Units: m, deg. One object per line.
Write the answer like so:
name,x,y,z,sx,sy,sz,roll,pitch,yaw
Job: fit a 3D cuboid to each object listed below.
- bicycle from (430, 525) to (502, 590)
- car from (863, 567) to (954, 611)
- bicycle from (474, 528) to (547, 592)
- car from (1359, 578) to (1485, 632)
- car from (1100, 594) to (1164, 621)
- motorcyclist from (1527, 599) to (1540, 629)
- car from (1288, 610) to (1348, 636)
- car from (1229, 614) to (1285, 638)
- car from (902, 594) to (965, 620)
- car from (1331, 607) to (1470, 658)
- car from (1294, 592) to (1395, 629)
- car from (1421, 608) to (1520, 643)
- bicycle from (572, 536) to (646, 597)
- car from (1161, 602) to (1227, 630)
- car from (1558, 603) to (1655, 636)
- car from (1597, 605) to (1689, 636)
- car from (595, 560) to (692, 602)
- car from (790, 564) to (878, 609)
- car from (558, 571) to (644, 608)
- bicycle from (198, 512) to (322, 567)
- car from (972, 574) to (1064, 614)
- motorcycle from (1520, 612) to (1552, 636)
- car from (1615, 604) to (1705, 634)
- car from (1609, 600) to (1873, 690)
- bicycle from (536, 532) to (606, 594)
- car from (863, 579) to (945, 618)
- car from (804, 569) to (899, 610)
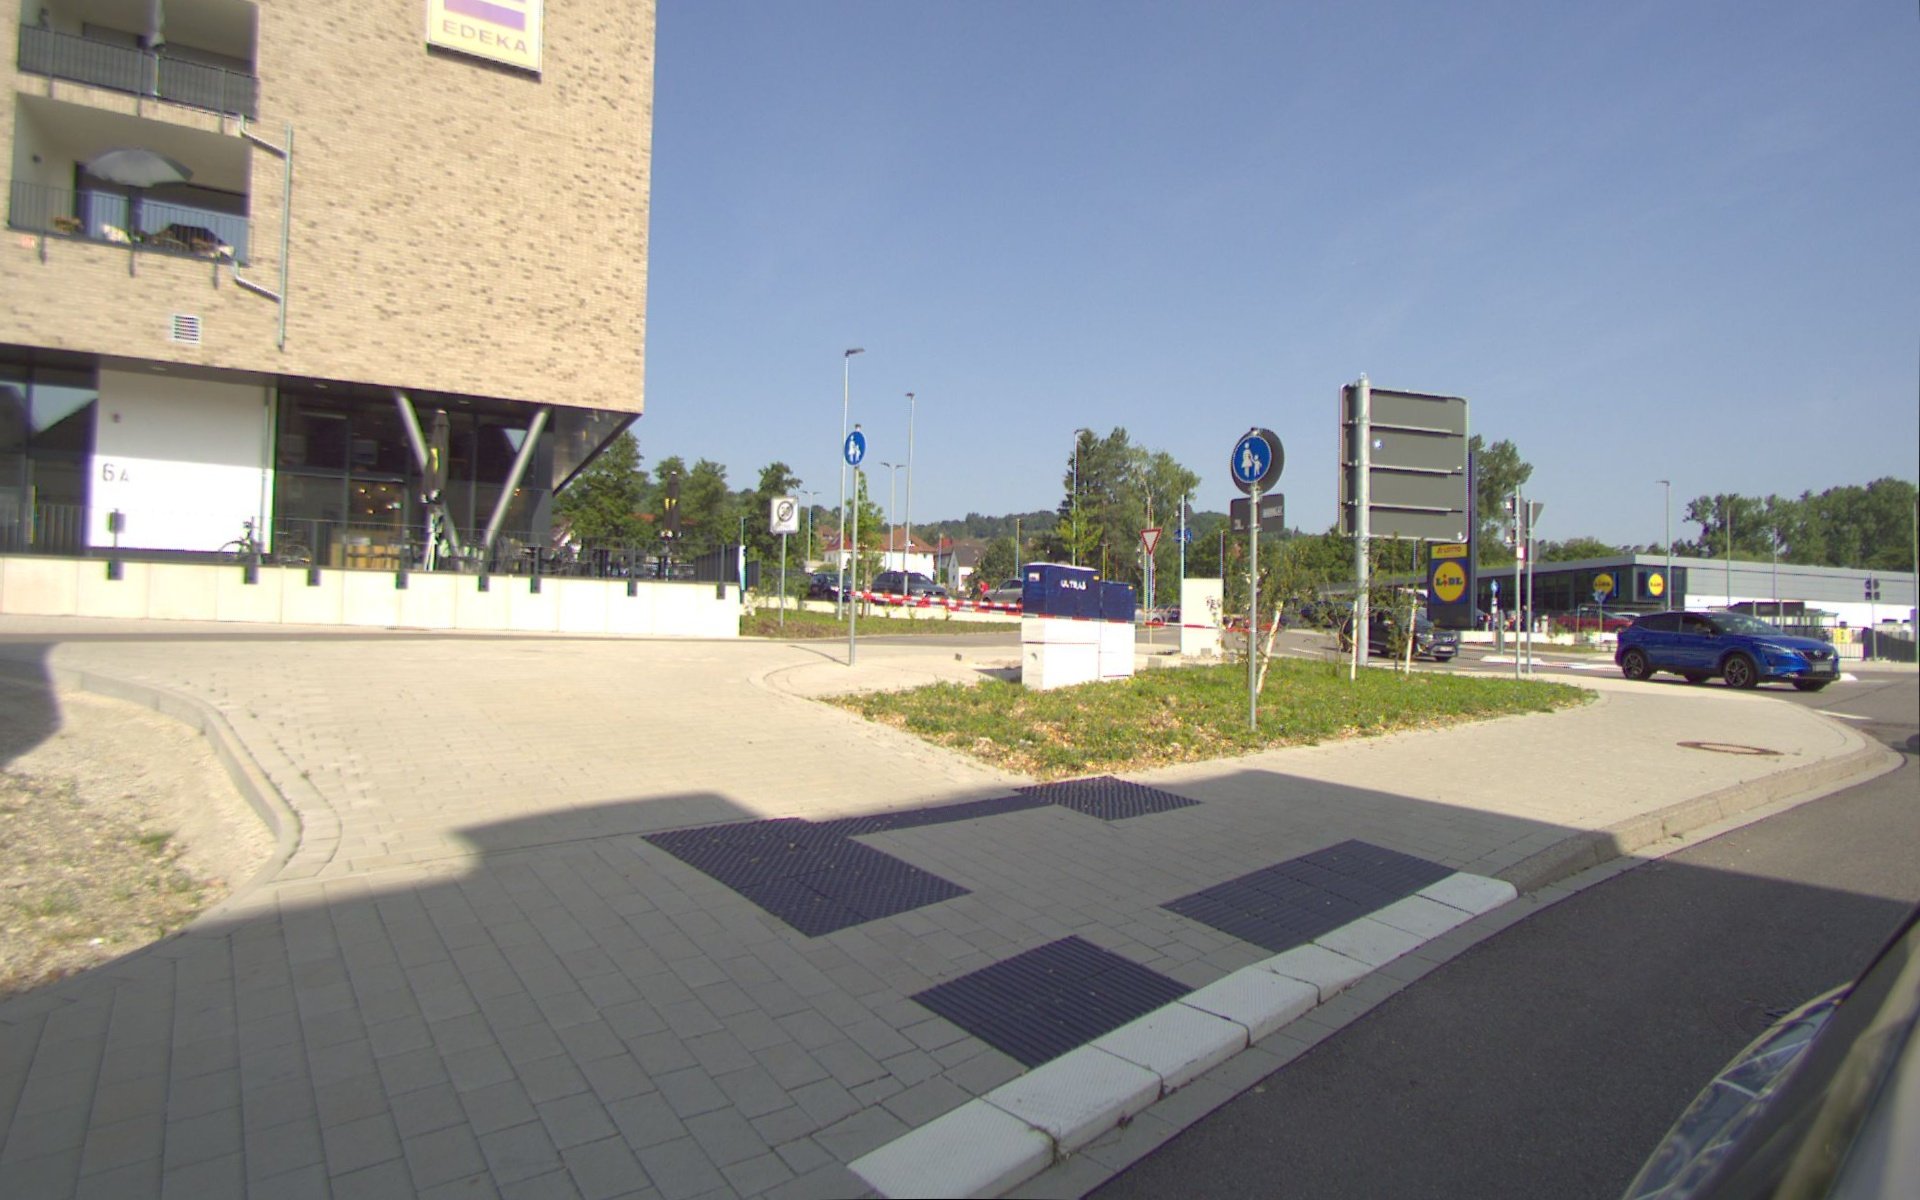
bicycle,-10.565,-0.871,21.603,0.842,1.160,2.240,3,-5,-40
car,-2.146,-0.457,41.192,1.820,1.575,4.466,5,-1,-29
bicycle,-9.837,-0.838,22.108,0.842,1.160,2.240,3,-5,-40
car,23.861,0.336,52.565,2.017,2.415,6.099,2,-4,-23
car,10.371,0.451,60.906,3.556,1.465,1.527,2,-4,-25
motorcyclist,30.812,0.750,54.408,0.509,1.563,0.577,-2,-5,26
car,24.366,1.576,68.833,3.708,1.595,1.667,2,-5,-26
car,21.619,1.936,73.694,3.708,1.595,1.765,2,-5,-26
car,-1.536,0.412,58.343,3.269,1.368,1.627,1,-4,-35
car,14.129,1.010,32.750,1.609,1.410,4.239,2,0,-20
car,19.005,0.566,50.299,1.882,1.551,4.867,2,-4,-21
car,26.681,1.368,53.090,1.794,1.623,4.482,2,-4,-23
bicycle,-8.013,-0.724,23.042,0.842,1.160,2.240,3,-5,-40
car,14.563,0.995,63.103,3.708,1.595,1.765,2,-5,-26
car,34.530,1.070,54.107,1.747,1.595,4.014,3,-5,-40
car,38.645,1.206,57.341,1.675,1.595,3.989,4,-5,-43
car,-12.227,-0.698,39.186,3.267,1.369,1.490,3,-5,-34
car,-5.027,-0.549,39.951,1.820,1.575,4.466,5,-1,-29
car,-15.299,-0.431,43.145,3.263,1.369,1.492,2,-5,-26
bicycle,-15.792,-1.346,22.907,2.199,1.059,0.694,2,-5,-29
car,2.471,-0.285,44.535,1.820,1.575,4.829,5,-1,-27
motorcycle,30.647,1.265,53.861,0.579,1.207,1.902,1,-3,0
car,40.836,1.142,59.085,1.675,1.595,3.989,4,-5,-43
car,16.518,0.863,21.730,1.848,1.684,4.361,0,0,-10
bicycle,-8.717,-0.795,22.624,0.752,1.160,2.240,3,-5,-40
car,-3.282,-0.038,60.191,4.560,2.040,1.998,3,-5,-37
car,-5.639,-0.513,52.706,4.485,1.905,2.002,2,-3,-28
